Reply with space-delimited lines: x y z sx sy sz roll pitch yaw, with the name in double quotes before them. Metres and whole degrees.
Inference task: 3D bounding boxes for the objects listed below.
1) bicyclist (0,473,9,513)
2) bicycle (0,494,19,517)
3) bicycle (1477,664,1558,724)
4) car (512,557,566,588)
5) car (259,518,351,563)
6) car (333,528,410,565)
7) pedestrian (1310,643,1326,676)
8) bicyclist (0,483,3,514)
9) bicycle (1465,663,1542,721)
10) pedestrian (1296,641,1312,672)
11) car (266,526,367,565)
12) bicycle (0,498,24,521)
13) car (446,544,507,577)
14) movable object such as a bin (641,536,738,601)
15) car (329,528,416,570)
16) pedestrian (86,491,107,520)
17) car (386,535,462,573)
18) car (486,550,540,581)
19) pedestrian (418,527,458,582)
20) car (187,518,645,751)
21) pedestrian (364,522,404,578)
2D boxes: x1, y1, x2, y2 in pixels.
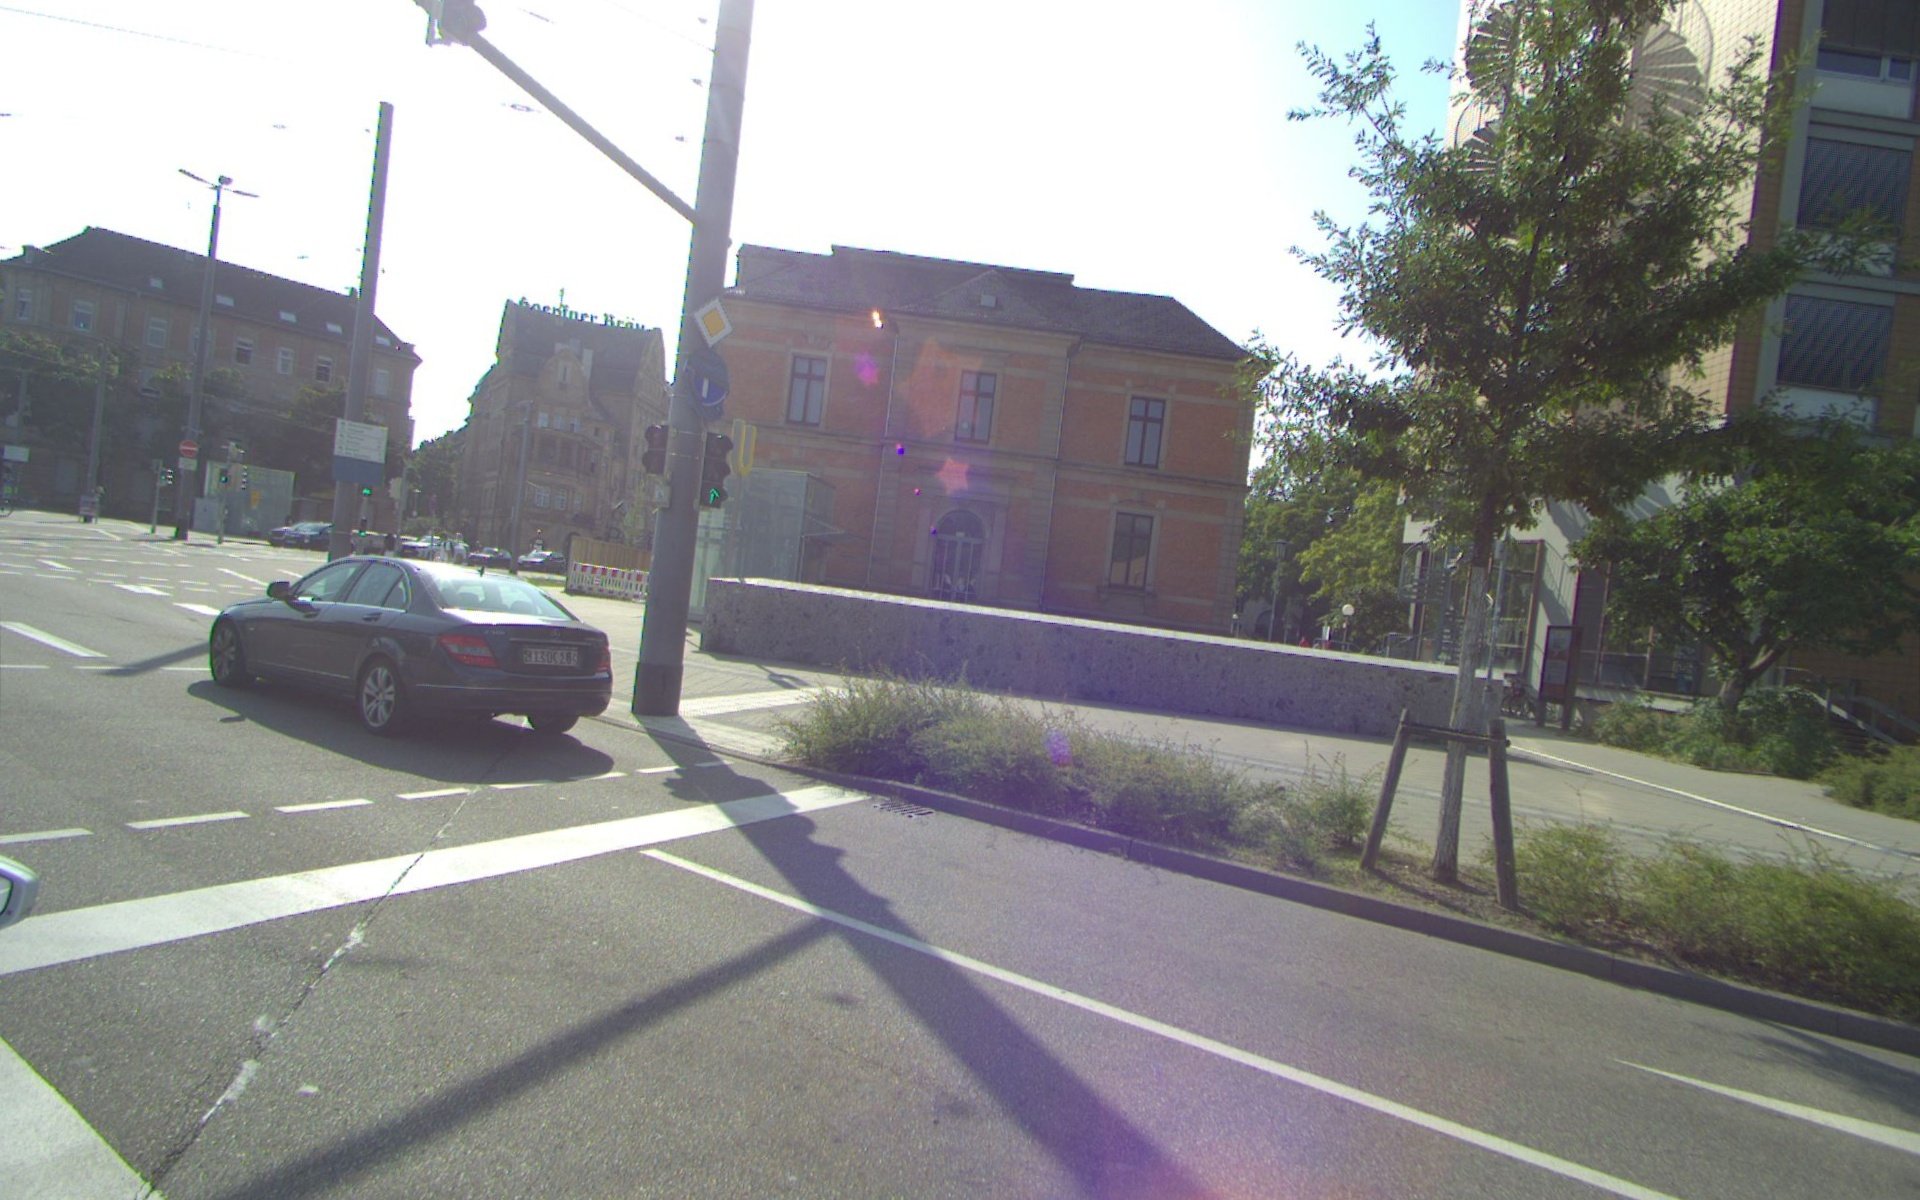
"bicyclist" -43.002 -4.818 44.373 1.074 1.730 0.935 7 1 -7
"bicycle" -43.038 -4.280 44.207 1.074 0.976 2.623 7 0 -7
"bicycle" 16.013 2.688 28.909 1.803 1.451 0.608 7 1 2
"car" -30.274 -1.944 72.516 1.875 1.881 4.069 7 0 2
"car" -35.046 -3.147 53.970 1.874 1.881 4.251 7 -1 2
"car" -38.821 -3.482 66.498 1.895 1.881 4.276 7 -1 11
"pedestrian" 21.824 3.618 61.375 0.624 1.890 0.674 7 1 10
"bicyclist" -47.029 -4.880 48.332 1.072 1.701 0.937 7 1 6
"bicycle" 16.103 2.711 29.839 1.782 1.451 0.608 7 1 2
"pedestrian" 21.391 3.515 62.593 0.624 1.890 0.674 7 1 10
"car" -32.236 -2.699 50.555 1.986 1.414 4.389 7 -1 2
"bicycle" -47.059 -4.508 48.534 1.072 0.976 2.627 7 0 6
"car" -33.813 -2.744 70.460 1.874 1.881 4.251 7 -1 2
"movable object such as a bin" -12.241 -1.321 46.252 2.409 2.472 7.974 7 0 -3
"car" -34.259 -2.935 58.833 1.874 1.881 4.711 7 -1 4
"pedestrian" -47.747 -5.202 55.606 0.538 1.489 0.666 6 1 -14
"car" -33.982 -2.867 63.911 2.007 1.881 4.666 7 -1 2
"car" -33.782 -2.583 76.168 1.874 1.881 4.251 7 -1 2
"pedestrian" -17.489 -1.513 33.746 0.909 1.711 0.921 7 0 -20
"car" -5.089 0.221 9.232 4.299 1.460 1.684 7 0 32
"pedestrian" -19.115 -1.644 33.402 0.910 1.711 0.833 7 0 -23
